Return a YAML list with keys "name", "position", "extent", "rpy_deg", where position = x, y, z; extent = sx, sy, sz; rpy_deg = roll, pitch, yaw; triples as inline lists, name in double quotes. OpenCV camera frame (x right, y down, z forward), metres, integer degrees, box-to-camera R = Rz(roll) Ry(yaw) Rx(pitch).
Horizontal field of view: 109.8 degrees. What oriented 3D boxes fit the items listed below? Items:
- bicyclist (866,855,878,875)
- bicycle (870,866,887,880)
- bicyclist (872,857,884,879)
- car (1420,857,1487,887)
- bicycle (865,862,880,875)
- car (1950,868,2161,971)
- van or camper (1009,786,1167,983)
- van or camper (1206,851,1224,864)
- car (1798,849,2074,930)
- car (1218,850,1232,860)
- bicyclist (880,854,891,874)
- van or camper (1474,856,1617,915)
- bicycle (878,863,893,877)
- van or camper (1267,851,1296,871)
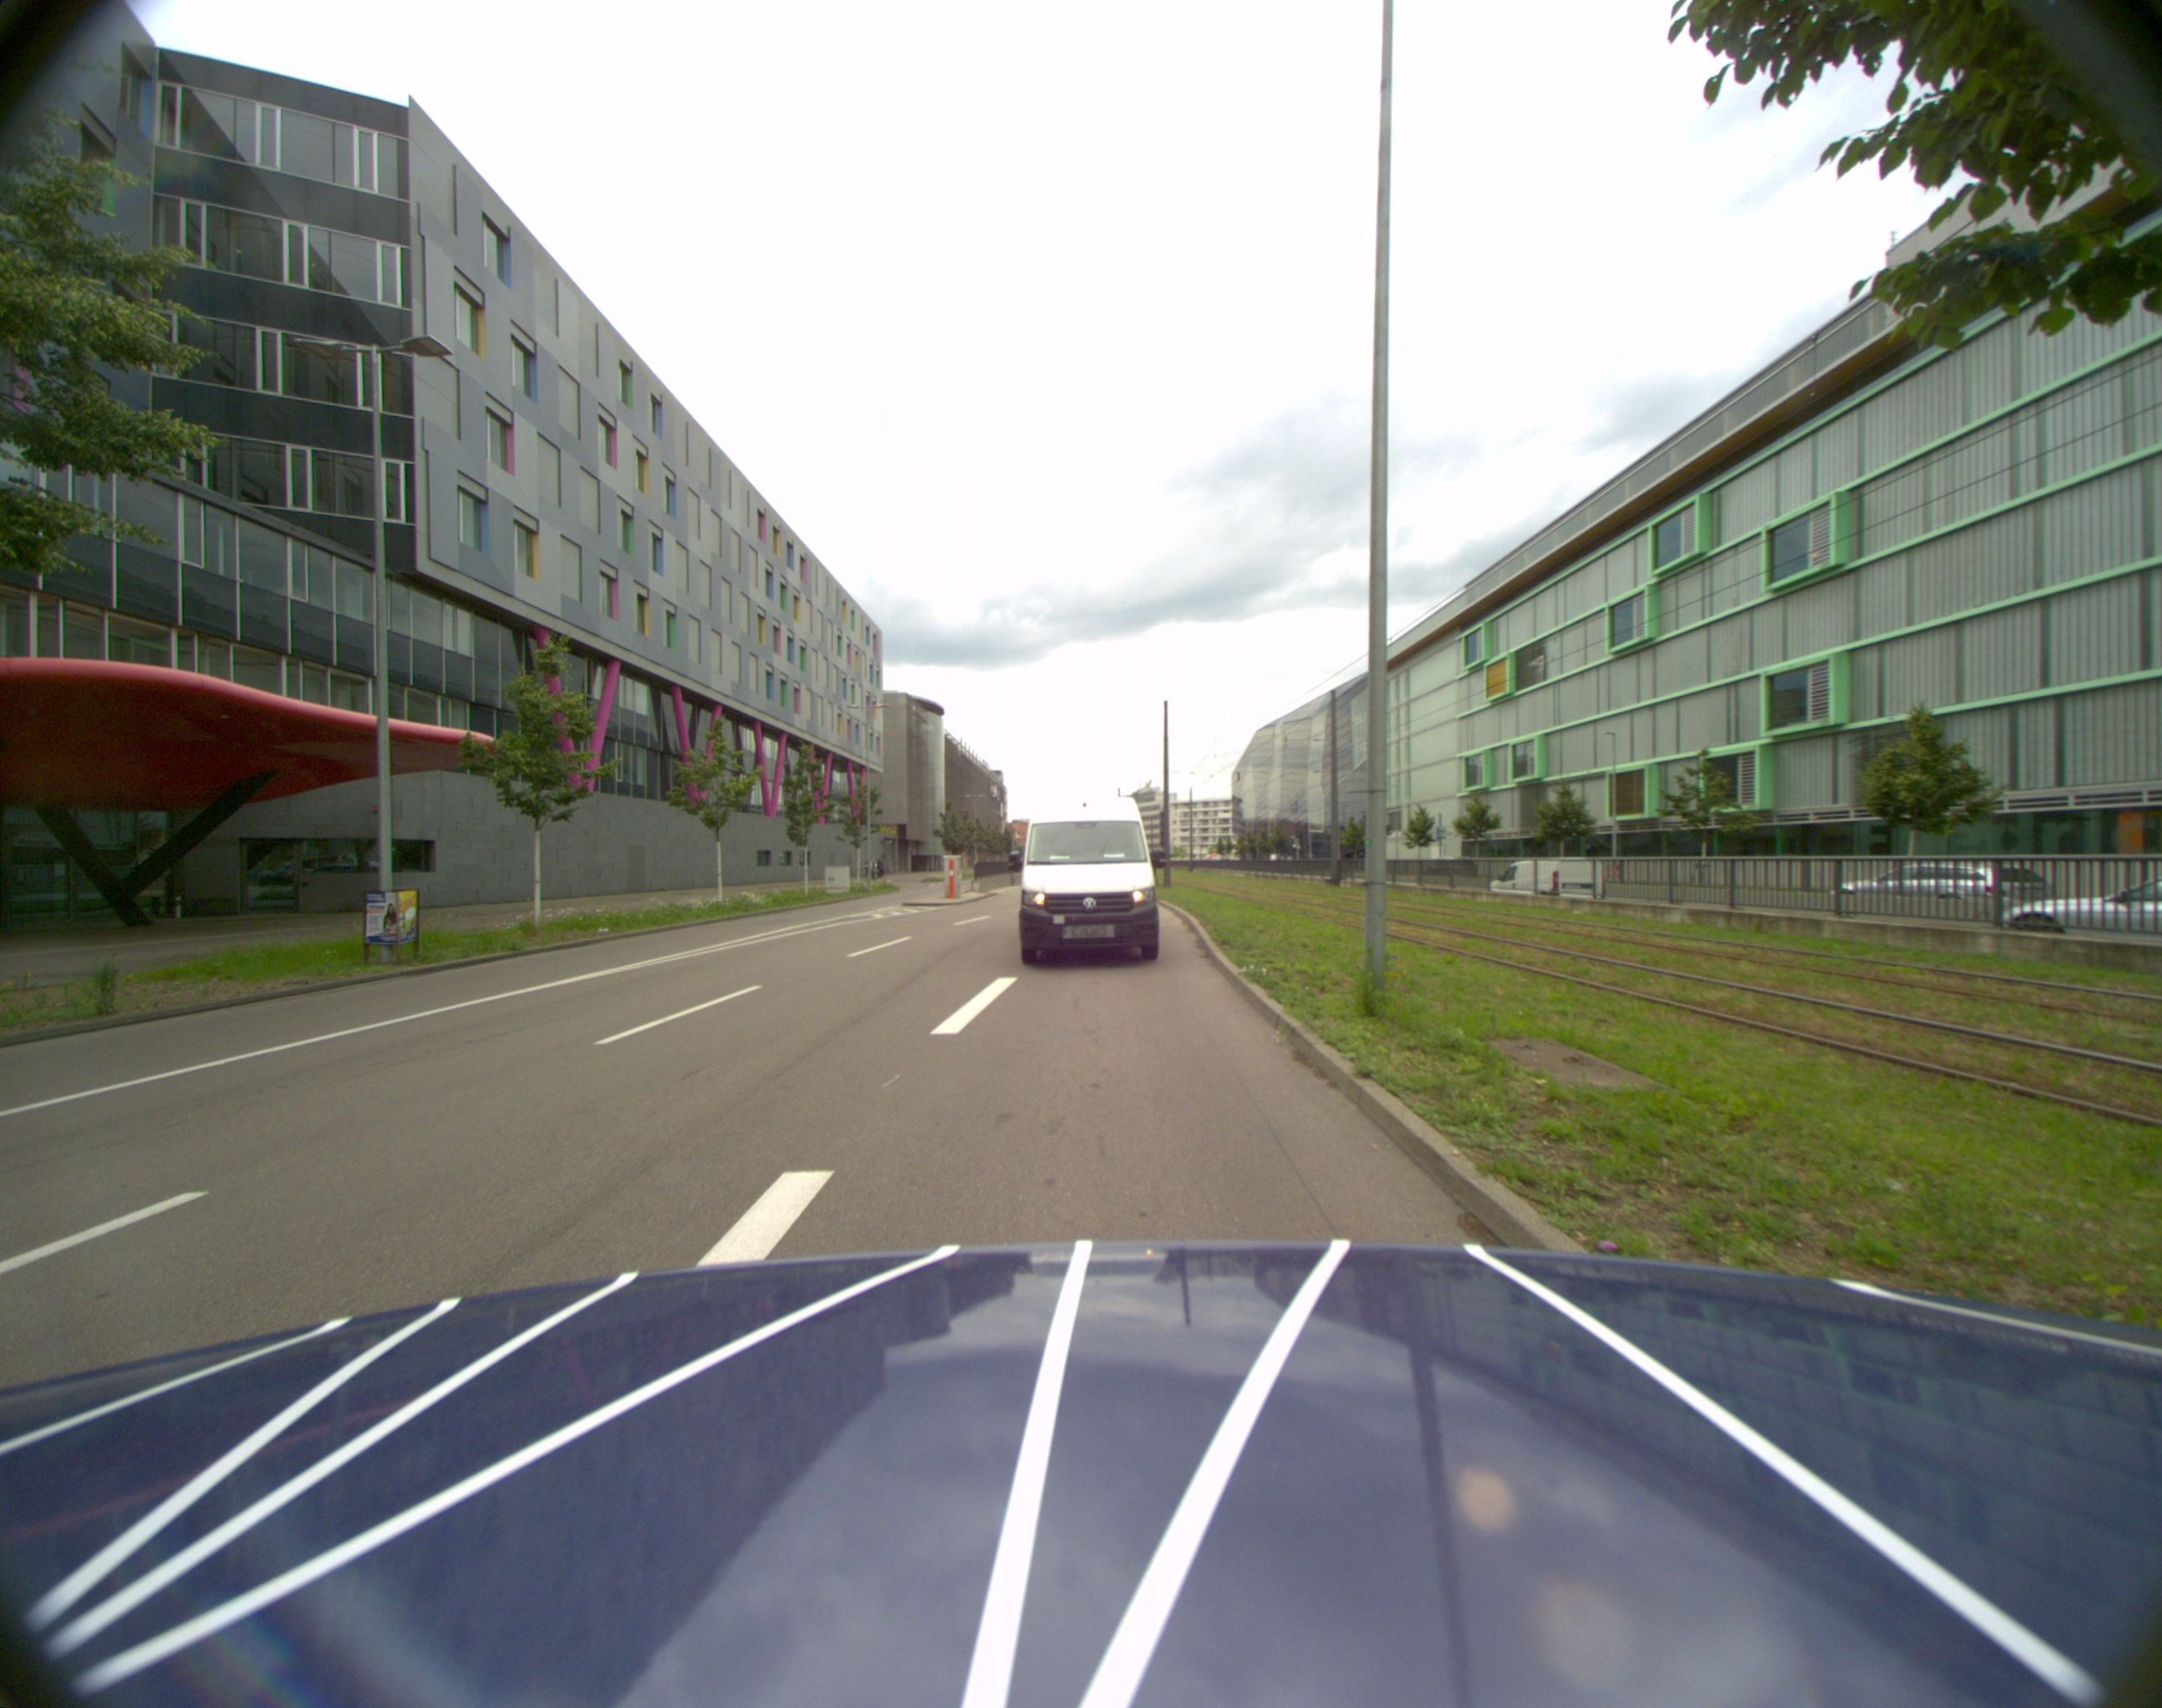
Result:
- name: "bicyclist"
  position: [-19.363, 1.018, 70.380]
  extent: [0.772, 1.776, 0.974]
  rpy_deg: [-1, 0, -2]
- name: "bicycle"
  position: [-17.129, 1.627, 64.208]
  extent: [0.801, 1.151, 2.345]
  rpy_deg: [-2, -1, 0]
- name: "bicyclist"
  position: [-17.143, 1.181, 64.198]
  extent: [0.784, 1.792, 0.705]
  rpy_deg: [-2, 0, 0]
- name: "car"
  position: [24.146, 1.132, 49.481]
  extent: [1.998, 1.813, 4.968]
  rpy_deg: [-1, 0, 1]
- name: "bicycle"
  position: [-19.366, 1.321, 70.602]
  extent: [0.785, 1.187, 2.220]
  rpy_deg: [-1, 0, -2]
- name: "car"
  position: [16.196, 0.964, 10.860]
  extent: [1.733, 1.437, 4.921]
  rpy_deg: [1, -1, -4]
- name: "van or camper"
  position: [0.097, 0.410, 12.570]
  extent: [2.043, 2.572, 5.041]
  rpy_deg: [-1, 0, 0]
- name: "van or camper"
  position: [24.045, 0.636, 136.681]
  extent: [2.178, 2.273, 6.507]
  rpy_deg: [-2, 0, 1]
- name: "car"
  position: [23.941, 0.895, 21.700]
  extent: [1.998, 2.002, 5.295]
  rpy_deg: [-1, 0, 1]
- name: "car"
  position: [27.124, 0.181, 143.032]
  extent: [1.998, 1.583, 4.769]
  rpy_deg: [-1, -2, 3]
- name: "bicyclist"
  position: [-17.782, 0.921, 69.134]
  extent: [0.784, 1.790, 0.705]
  rpy_deg: [-2, -4, 0]
- name: "van or camper"
  position: [16.382, 1.040, 27.182]
  extent: [1.894, 1.889, 5.124]
  rpy_deg: [0, 0, -1]
- name: "bicycle"
  position: [-17.763, 1.457, 69.058]
  extent: [0.801, 1.150, 2.346]
  rpy_deg: [-2, -4, 0]
- name: "van or camper"
  position: [24.227, 0.816, 91.996]
  extent: [2.178, 2.273, 5.359]
  rpy_deg: [-1, 0, 1]
